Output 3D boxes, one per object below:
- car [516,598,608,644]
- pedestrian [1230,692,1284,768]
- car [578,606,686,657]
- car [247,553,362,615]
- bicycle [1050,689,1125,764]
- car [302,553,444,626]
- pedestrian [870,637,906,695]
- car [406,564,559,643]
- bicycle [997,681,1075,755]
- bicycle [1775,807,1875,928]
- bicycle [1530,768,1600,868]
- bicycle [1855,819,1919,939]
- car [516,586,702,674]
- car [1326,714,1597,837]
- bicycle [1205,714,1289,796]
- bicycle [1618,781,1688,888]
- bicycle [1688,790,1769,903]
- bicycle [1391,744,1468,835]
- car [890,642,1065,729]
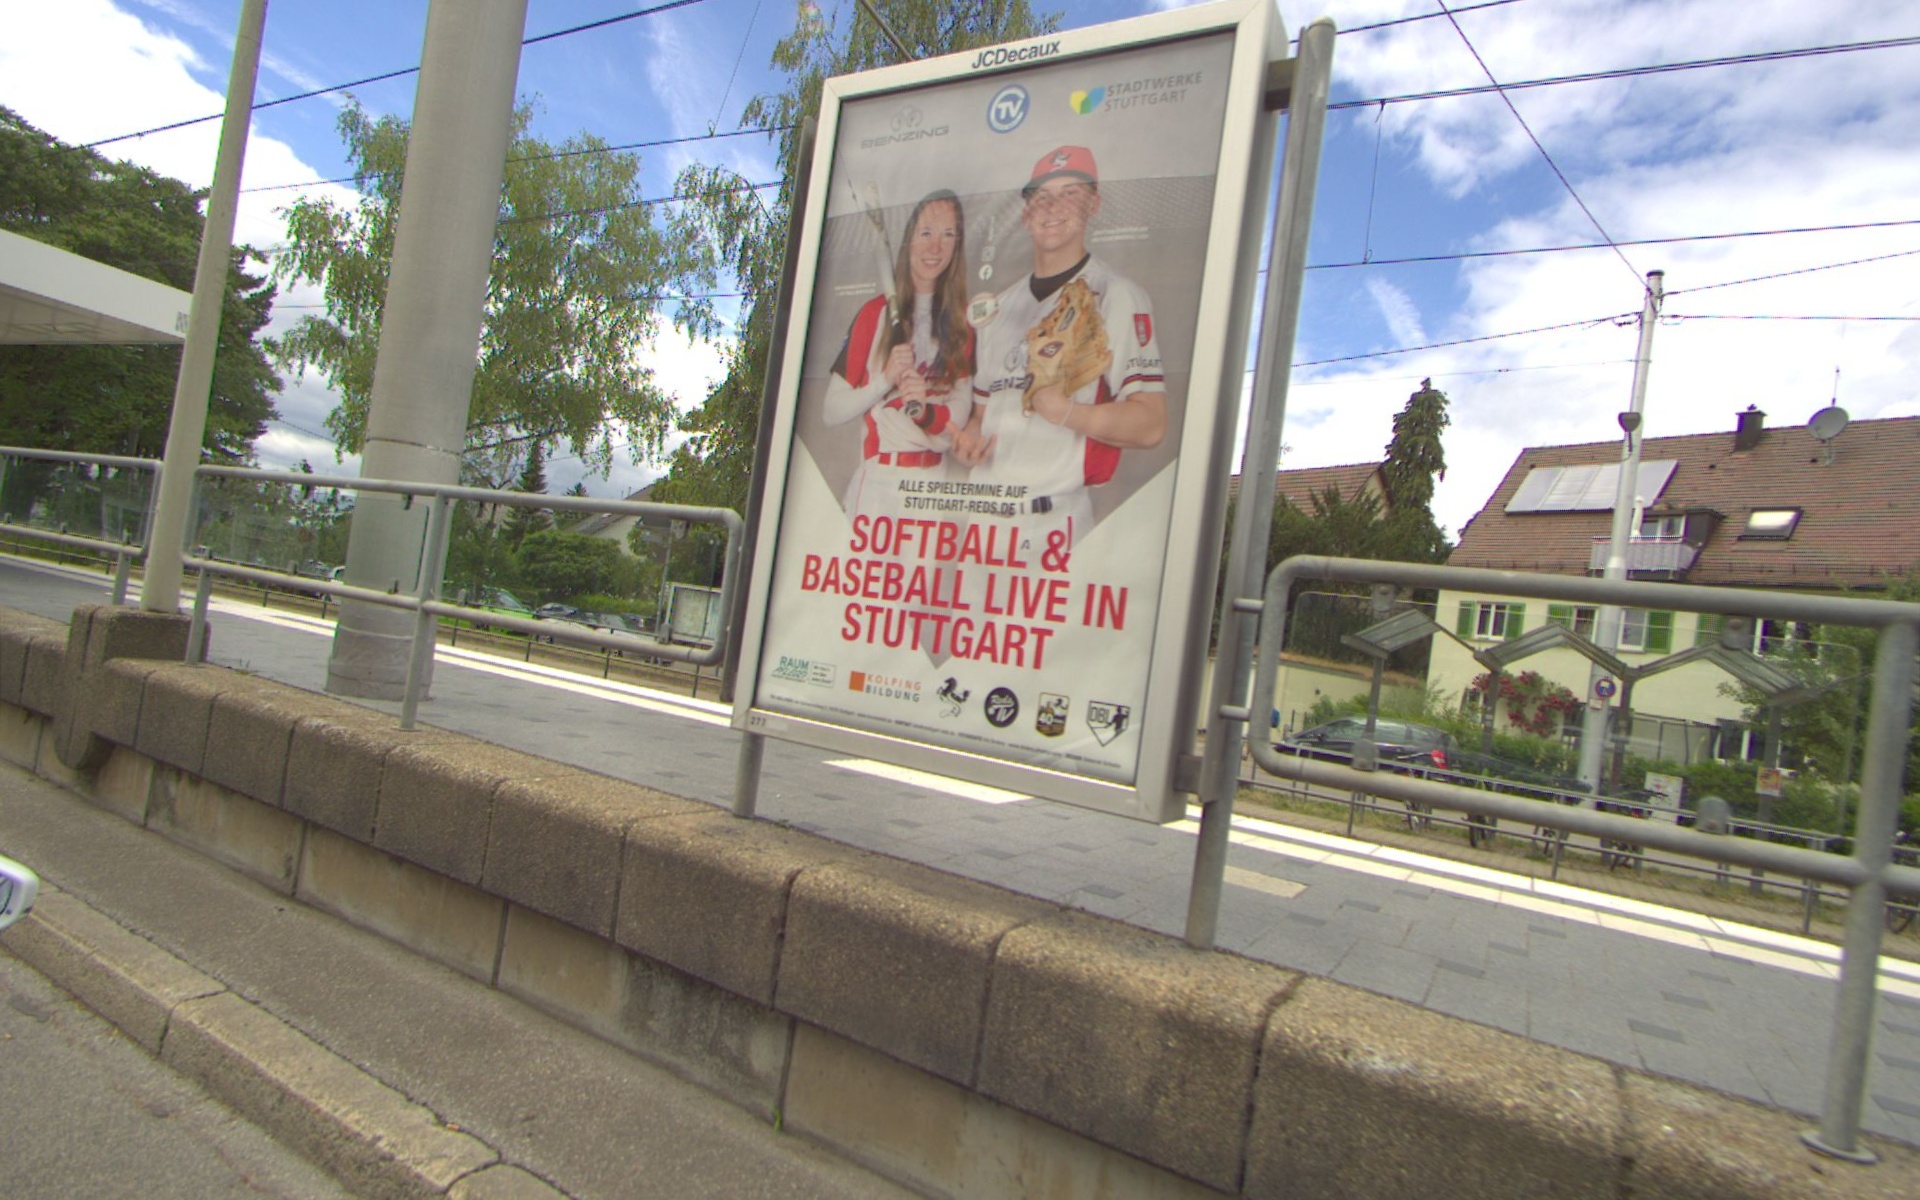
[{"bbox_3d":[-17.544,0.919,44.253,4.633,1.505,1.755,5,-3,42],"label":"car"},{"bbox_3d":[7.352,3.216,24.888,0.932,1.704,0.810,7,-2,29],"label":"pedestrian"},{"bbox_3d":[-13.230,1.241,40.405,4.862,1.505,1.755,5,-3,42],"label":"car"},{"bbox_3d":[-21.703,-0.555,33.265,4.437,1.504,1.841,6,-3,40],"label":"car"},{"bbox_3d":[2.054,2.012,16.028,0.547,1.053,1.772,7,-3,25],"label":"bicycle"},{"bbox_3d":[-17.917,-0.327,30.678,4.029,1.591,1.762,7,-3,29],"label":"car"},{"bbox_3d":[-2.433,2.213,33.867,0.817,1.791,0.681,9,-2,-21],"label":"pedestrian"},{"bbox_3d":[-13.375,0.091,28.148,3.931,1.591,1.736,7,-3,29],"label":"car"},{"bbox_3d":[1.237,1.886,16.067,0.547,1.053,1.772,7,-3,24],"label":"bicycle"},{"bbox_3d":[9.492,2.894,11.085,0.548,1.053,1.768,7,-3,35],"label":"bicycle"},{"bbox_3d":[7.581,2.683,12.579,0.548,1.053,1.768,7,-3,35],"label":"bicycle"},{"bbox_3d":[10.067,2.950,10.675,0.548,1.053,1.768,7,-3,35],"label":"bicycle"},{"bbox_3d":[-8.962,0.764,25.677,4.187,1.591,2.070,7,-3,29],"label":"car"},{"bbox_3d":[9.778,3.371,19.817,4.360,1.502,1.815,6,-3,41],"label":"car"},{"bbox_3d":[4.254,2.276,14.810,0.548,1.053,1.768,7,-3,35],"label":"bicycle"},{"bbox_3d":[8.279,2.763,12.036,0.548,1.053,1.768,7,-3,35],"label":"bicycle"},{"bbox_3d":[8.852,2.800,11.633,0.548,1.053,1.768,7,-3,35],"label":"bicycle"},{"bbox_3d":[6.287,2.500,13.430,0.548,1.053,1.768,7,-3,35],"label":"bicycle"},{"bbox_3d":[0.395,2.328,27.936,4.777,1.654,1.813,6,-4,45],"label":"car"}]
